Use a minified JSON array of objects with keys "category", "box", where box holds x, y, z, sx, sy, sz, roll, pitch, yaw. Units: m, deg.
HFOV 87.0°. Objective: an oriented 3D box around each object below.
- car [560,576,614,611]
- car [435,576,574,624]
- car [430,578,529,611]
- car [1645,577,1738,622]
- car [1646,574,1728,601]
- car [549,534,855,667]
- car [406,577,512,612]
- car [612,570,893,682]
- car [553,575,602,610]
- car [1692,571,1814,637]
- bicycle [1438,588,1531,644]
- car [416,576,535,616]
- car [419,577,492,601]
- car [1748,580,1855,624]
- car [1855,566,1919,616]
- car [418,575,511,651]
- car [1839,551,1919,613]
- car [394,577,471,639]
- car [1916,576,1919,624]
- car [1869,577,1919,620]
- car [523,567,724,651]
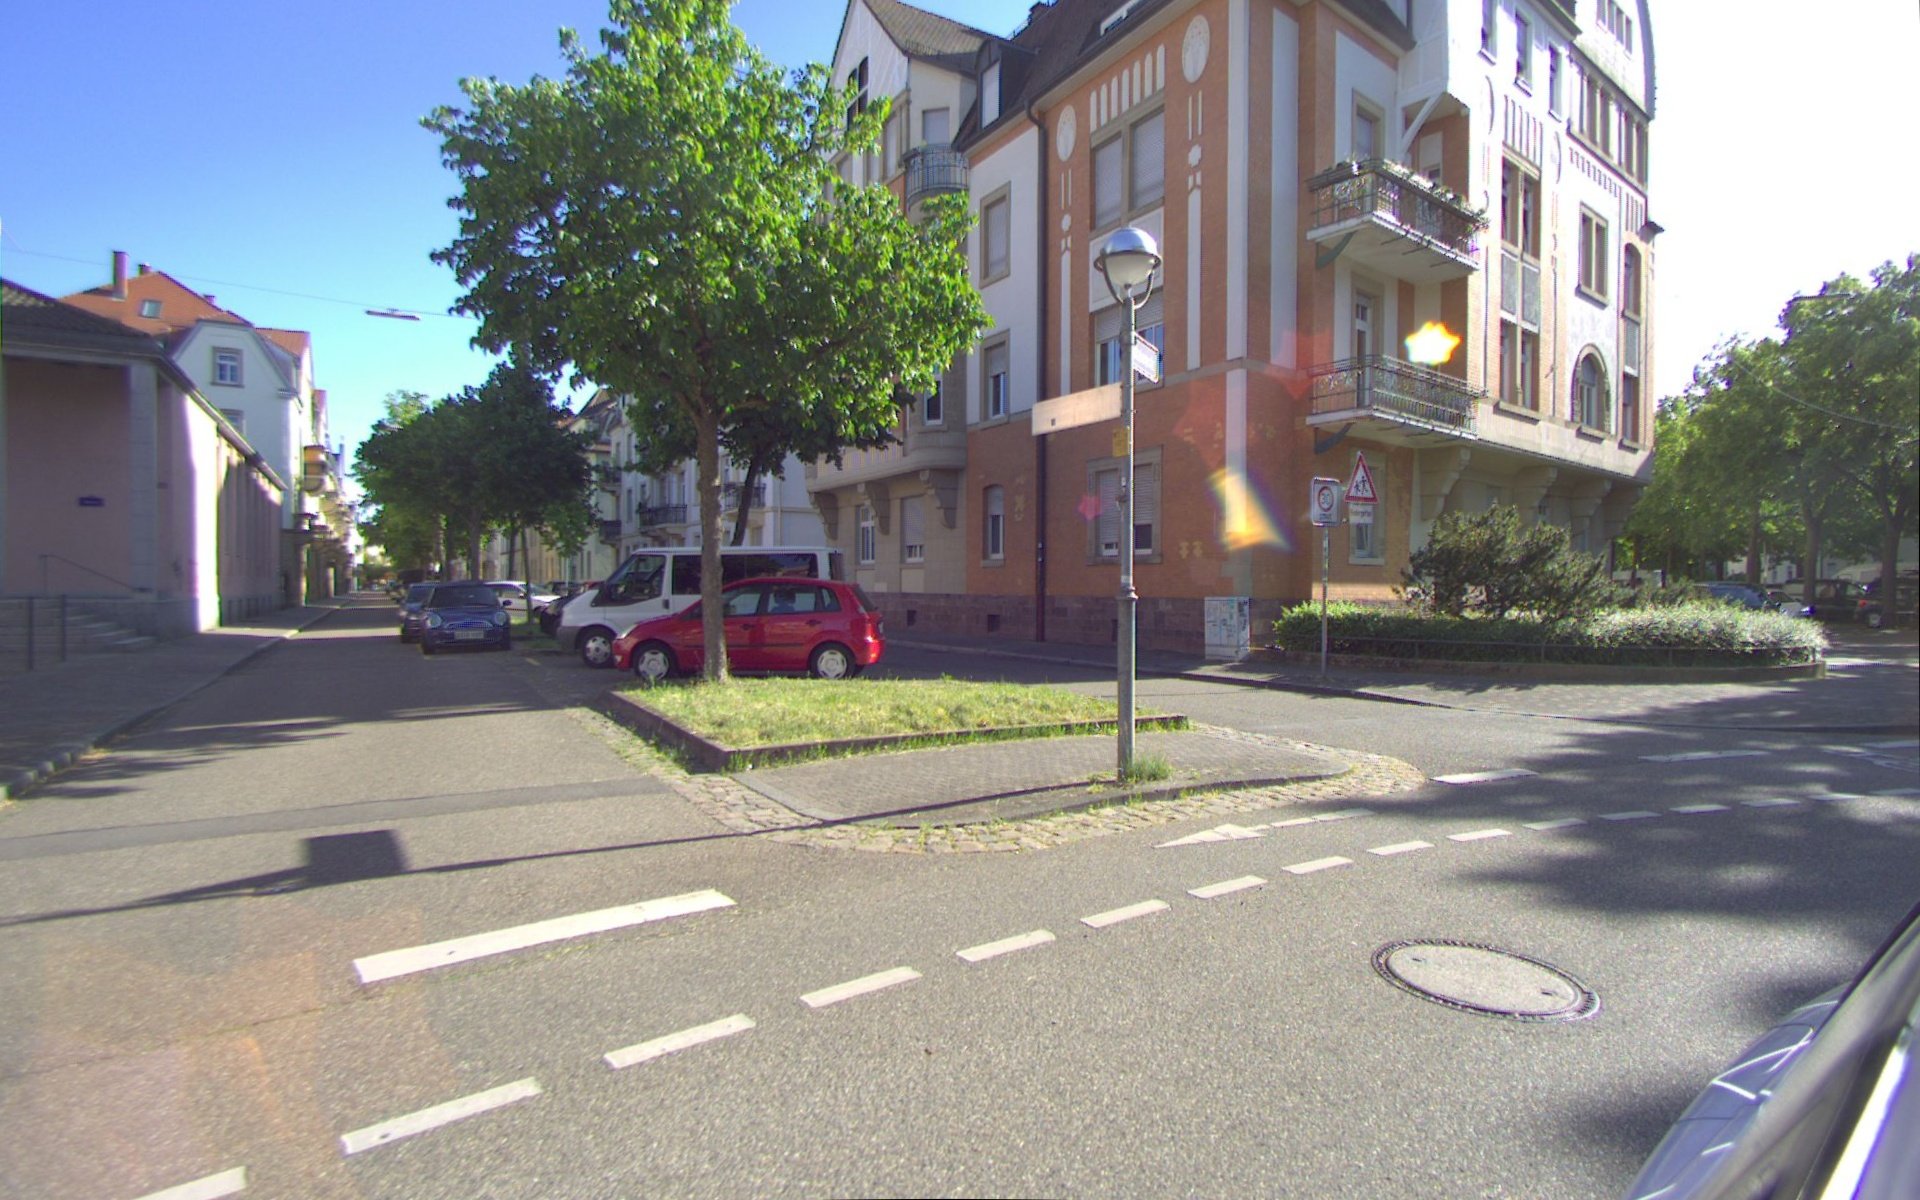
[{"category":"car","box":[-16.413,-0.308,44.418,1.726,1.474,3.961,0,1,-28]},{"category":"car","box":[-15.150,-0.011,33.764,3.887,1.515,1.759,1,1,6]},{"category":"car","box":[-22.556,-0.268,47.536,3.887,1.515,1.759,1,1,6]},{"category":"car","box":[26.066,-0.044,36.209,1.778,1.472,4.175,-2,0,23]},{"category":"car","box":[46.294,-0.816,64.481,1.793,1.708,3.991,0,1,-43]},{"category":"car","box":[-4.220,-0.017,17.052,4.621,2.071,1.992,1,1,5]},{"category":"car","box":[-22.150,-0.257,44.809,3.887,1.515,1.759,1,1,6]},{"category":"car","box":[-2.834,0.329,14.359,3.627,1.453,1.668,0,1,2]},{"category":"car","box":[-18.457,-0.391,48.724,1.726,1.637,3.961,0,1,-28]},{"category":"car","box":[23.482,0.108,30.148,1.778,1.789,4.175,-2,0,23]},{"category":"bicycle","box":[10.979,0.318,21.239,0.491,1.085,1.673,0,1,-39]},{"category":"car","box":[-18.921,-0.168,39.607,3.887,1.515,1.759,1,1,6]},{"category":"car","box":[-32.764,-0.709,65.737,3.878,1.515,1.763,0,1,-3]},{"category":"car","box":[29.644,0.047,35.790,1.778,1.453,4.175,-1,0,24]},{"category":"car","box":[37.172,-0.339,38.750,1.787,1.922,4.005,0,1,-29]},{"category":"car","box":[-10.617,0.210,21.573,1.582,1.440,3.618,-2,2,-29]},{"category":"car","box":[39.389,-0.742,41.565,1.948,2.522,4.596,0,1,-34]},{"category":"car","box":[-13.361,0.145,25.591,1.582,1.440,3.618,-2,2,-29]},{"category":"car","box":[30.839,0.042,29.476,1.787,1.459,4.005,0,1,-29]},{"category":"car","box":[34.028,-0.044,34.631,1.787,1.471,4.005,0,1,-29]},{"category":"car","box":[-7.375,0.168,22.433,3.882,1.760,1.761,0,1,2]}]
